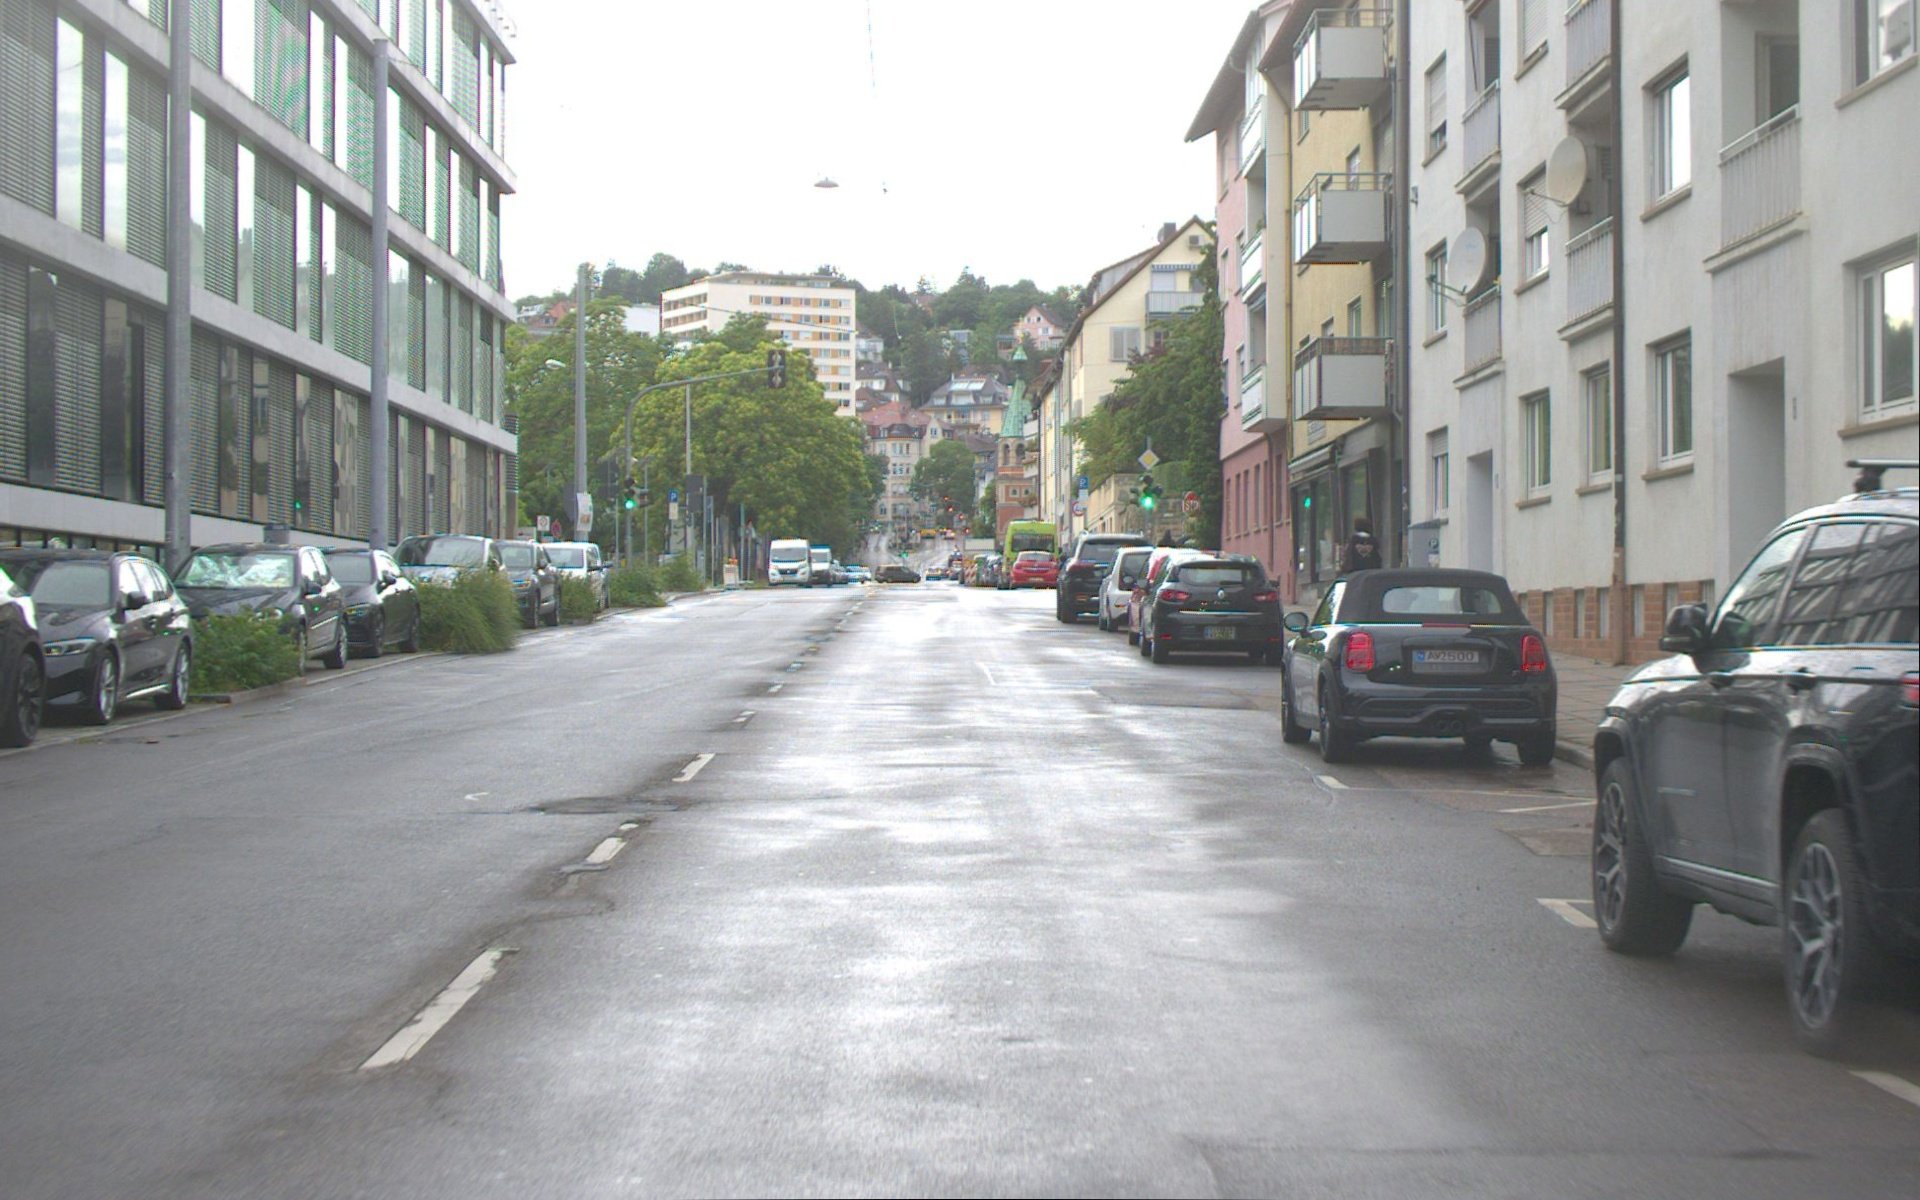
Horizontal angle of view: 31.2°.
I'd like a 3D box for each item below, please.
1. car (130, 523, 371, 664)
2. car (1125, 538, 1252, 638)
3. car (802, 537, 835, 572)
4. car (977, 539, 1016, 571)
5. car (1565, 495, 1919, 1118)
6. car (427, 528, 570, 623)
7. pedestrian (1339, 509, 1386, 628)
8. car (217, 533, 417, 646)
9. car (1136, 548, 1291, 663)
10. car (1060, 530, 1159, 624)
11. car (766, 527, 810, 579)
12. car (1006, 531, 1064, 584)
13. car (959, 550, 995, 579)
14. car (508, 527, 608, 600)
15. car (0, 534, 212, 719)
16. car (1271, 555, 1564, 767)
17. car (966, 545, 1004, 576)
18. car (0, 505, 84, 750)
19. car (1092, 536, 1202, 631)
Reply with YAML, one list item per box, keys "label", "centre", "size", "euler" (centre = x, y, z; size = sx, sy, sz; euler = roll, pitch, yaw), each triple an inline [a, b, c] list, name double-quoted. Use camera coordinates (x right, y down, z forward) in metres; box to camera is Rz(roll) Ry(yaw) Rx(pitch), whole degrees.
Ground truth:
- label: "car"
  centre: [-8.038, -0.089, 39.338]
  size: [1.863, 1.484, 4.347]
  euler: [1, 0, 0]
- label: "car"
  centre: [3.397, -0.194, 51.693]
  size: [1.582, 1.409, 3.654]
  euler: [1, 0, -1]
- label: "car"
  centre: [-8.791, -2.802, 213.032]
  size: [1.866, 2.134, 4.359]
  euler: [1, 0, -4]
- label: "car"
  centre: [1.909, -2.326, 178.307]
  size: [1.867, 1.598, 4.189]
  euler: [1, 0, 2]
- label: "car"
  centre: [3.559, 0.576, 12.041]
  size: [1.935, 1.744, 4.797]
  euler: [1, 0, -1]
- label: "car"
  centre: [-8.191, -0.422, 61.368]
  size: [1.802, 1.598, 4.234]
  euler: [1, 0, 2]
- label: "pedestrian"
  centre: [6.345, -0.497, 54.200]
  size: [0.639, 1.864, 0.538]
  euler: [1, 0, 1]
- label: "car"
  centre: [-8.477, -0.158, 45.682]
  size: [1.837, 1.391, 4.392]
  euler: [1, 1, 0]
- label: "car"
  centre: [3.372, 0.048, 46.387]
  size: [1.706, 1.449, 3.985]
  euler: [1, 0, -1]
- label: "car"
  centre: [2.889, -0.478, 66.939]
  size: [1.654, 1.732, 4.180]
  euler: [1, 1, -1]
- label: "car"
  centre: [-8.706, -2.366, 174.169]
  size: [2.105, 2.538, 4.751]
  euler: [1, 0, -3]
- label: "car"
  centre: [2.598, -1.438, 118.573]
  size: [1.867, 1.764, 4.189]
  euler: [1, 0, 2]
- label: "car"
  centre: [0.991, -2.000, 196.786]
  size: [1.867, 1.598, 4.189]
  euler: [1, 0, 2]
- label: "car"
  centre: [-8.424, -0.791, 72.283]
  size: [1.595, 1.454, 3.719]
  euler: [1, 1, 1]
- label: "car"
  centre: [-7.971, 0.179, 29.992]
  size: [1.871, 1.467, 4.741]
  euler: [1, 1, 0]
- label: "car"
  centre: [3.472, 0.417, 26.693]
  size: [1.673, 1.454, 3.765]
  euler: [1, 2, -1]
- label: "car"
  centre: [1.381, -2.155, 188.631]
  size: [1.867, 1.598, 4.189]
  euler: [1, 0, 2]
- label: "car"
  centre: [-7.820, 0.180, 24.041]
  size: [1.963, 1.744, 4.941]
  euler: [1, 0, 2]
- label: "car"
  centre: [3.245, -0.299, 60.294]
  size: [1.635, 1.566, 3.711]
  euler: [1, 0, -1]
